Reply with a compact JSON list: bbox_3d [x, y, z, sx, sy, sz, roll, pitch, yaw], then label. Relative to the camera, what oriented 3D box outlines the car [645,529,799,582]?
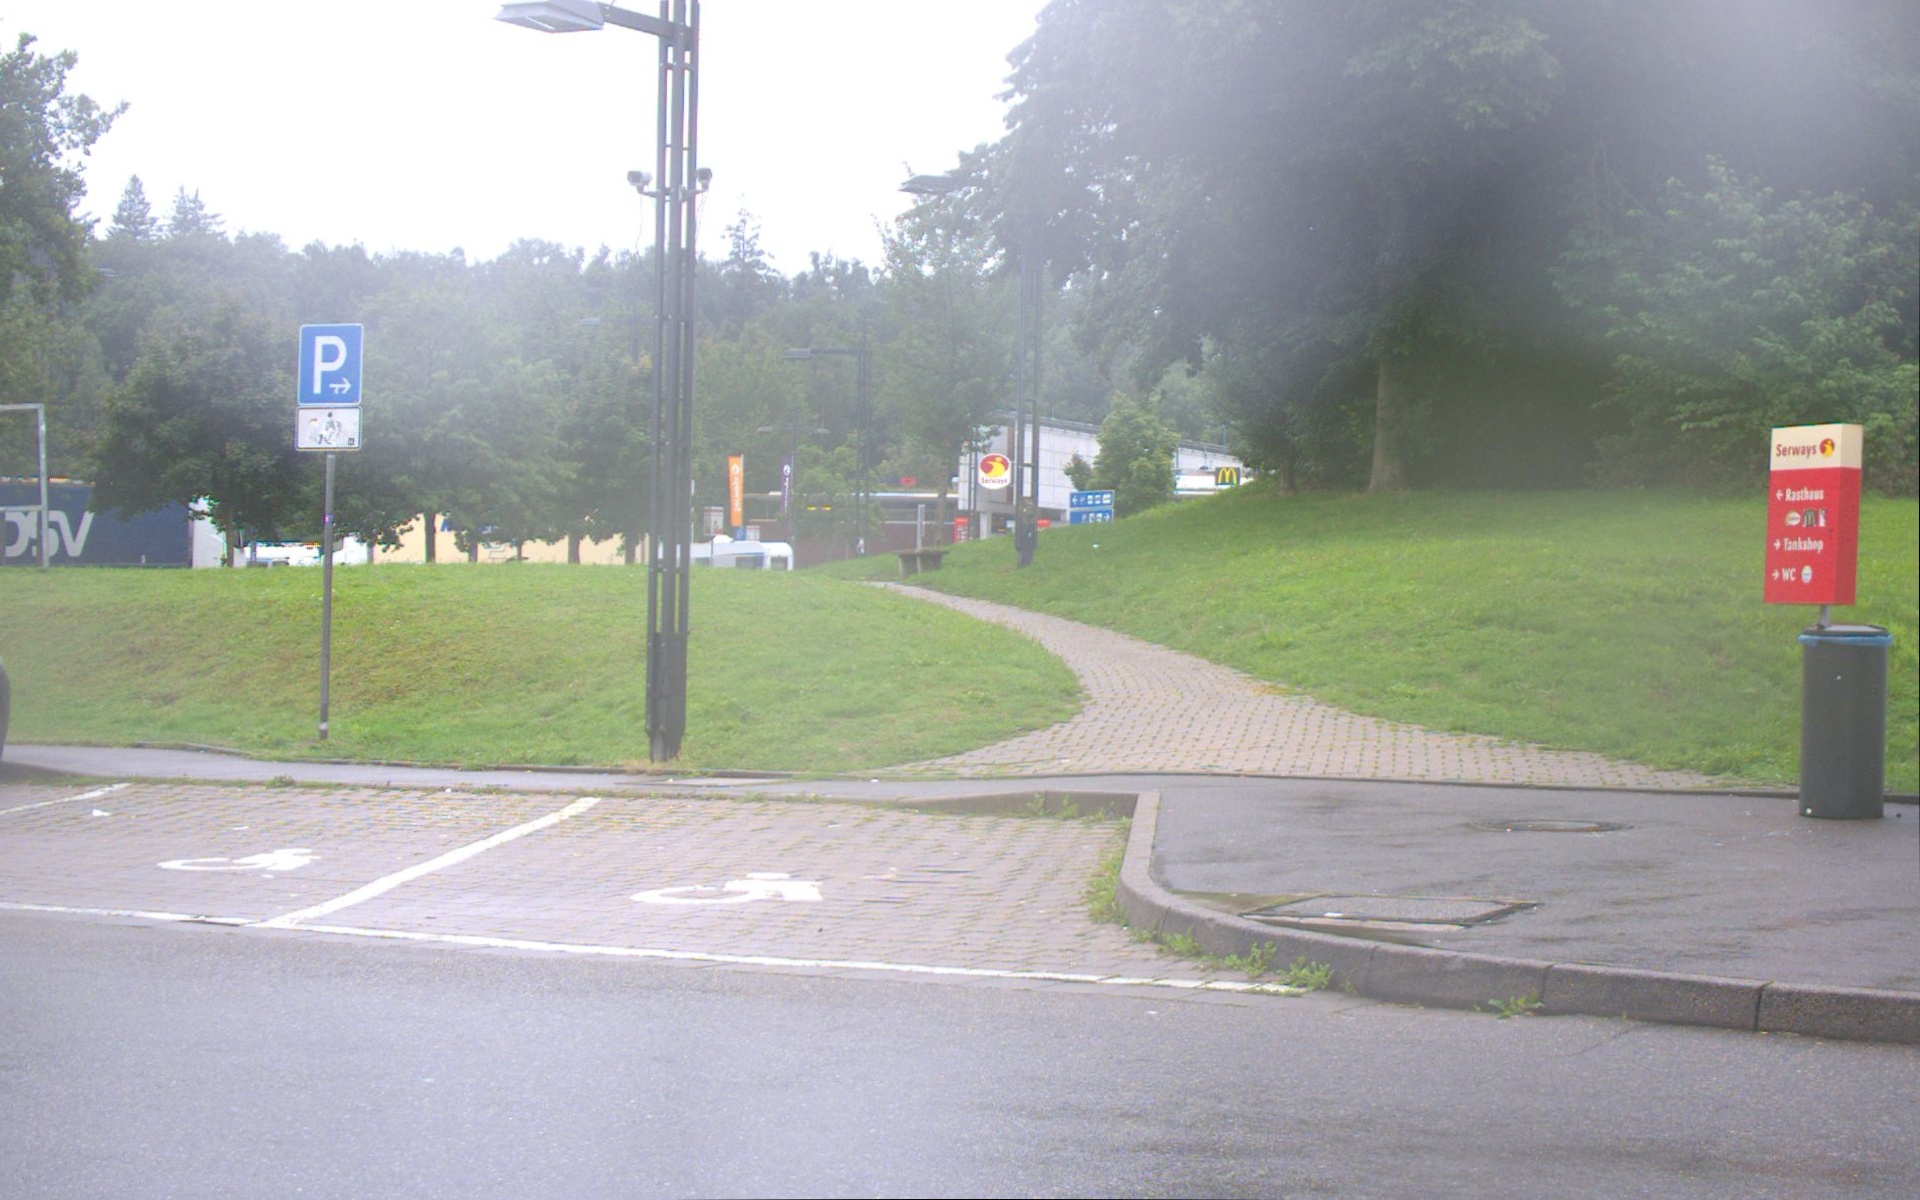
[{"bbox_3d":[-9.262,-1.740,133.788,5.429,2.007,2.453,1,1,20],"label":"car"}]

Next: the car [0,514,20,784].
[{"bbox_3d":[-7.768,0.368,21.460,1.885,1.821,4.411,0,1,11],"label":"car"}]
